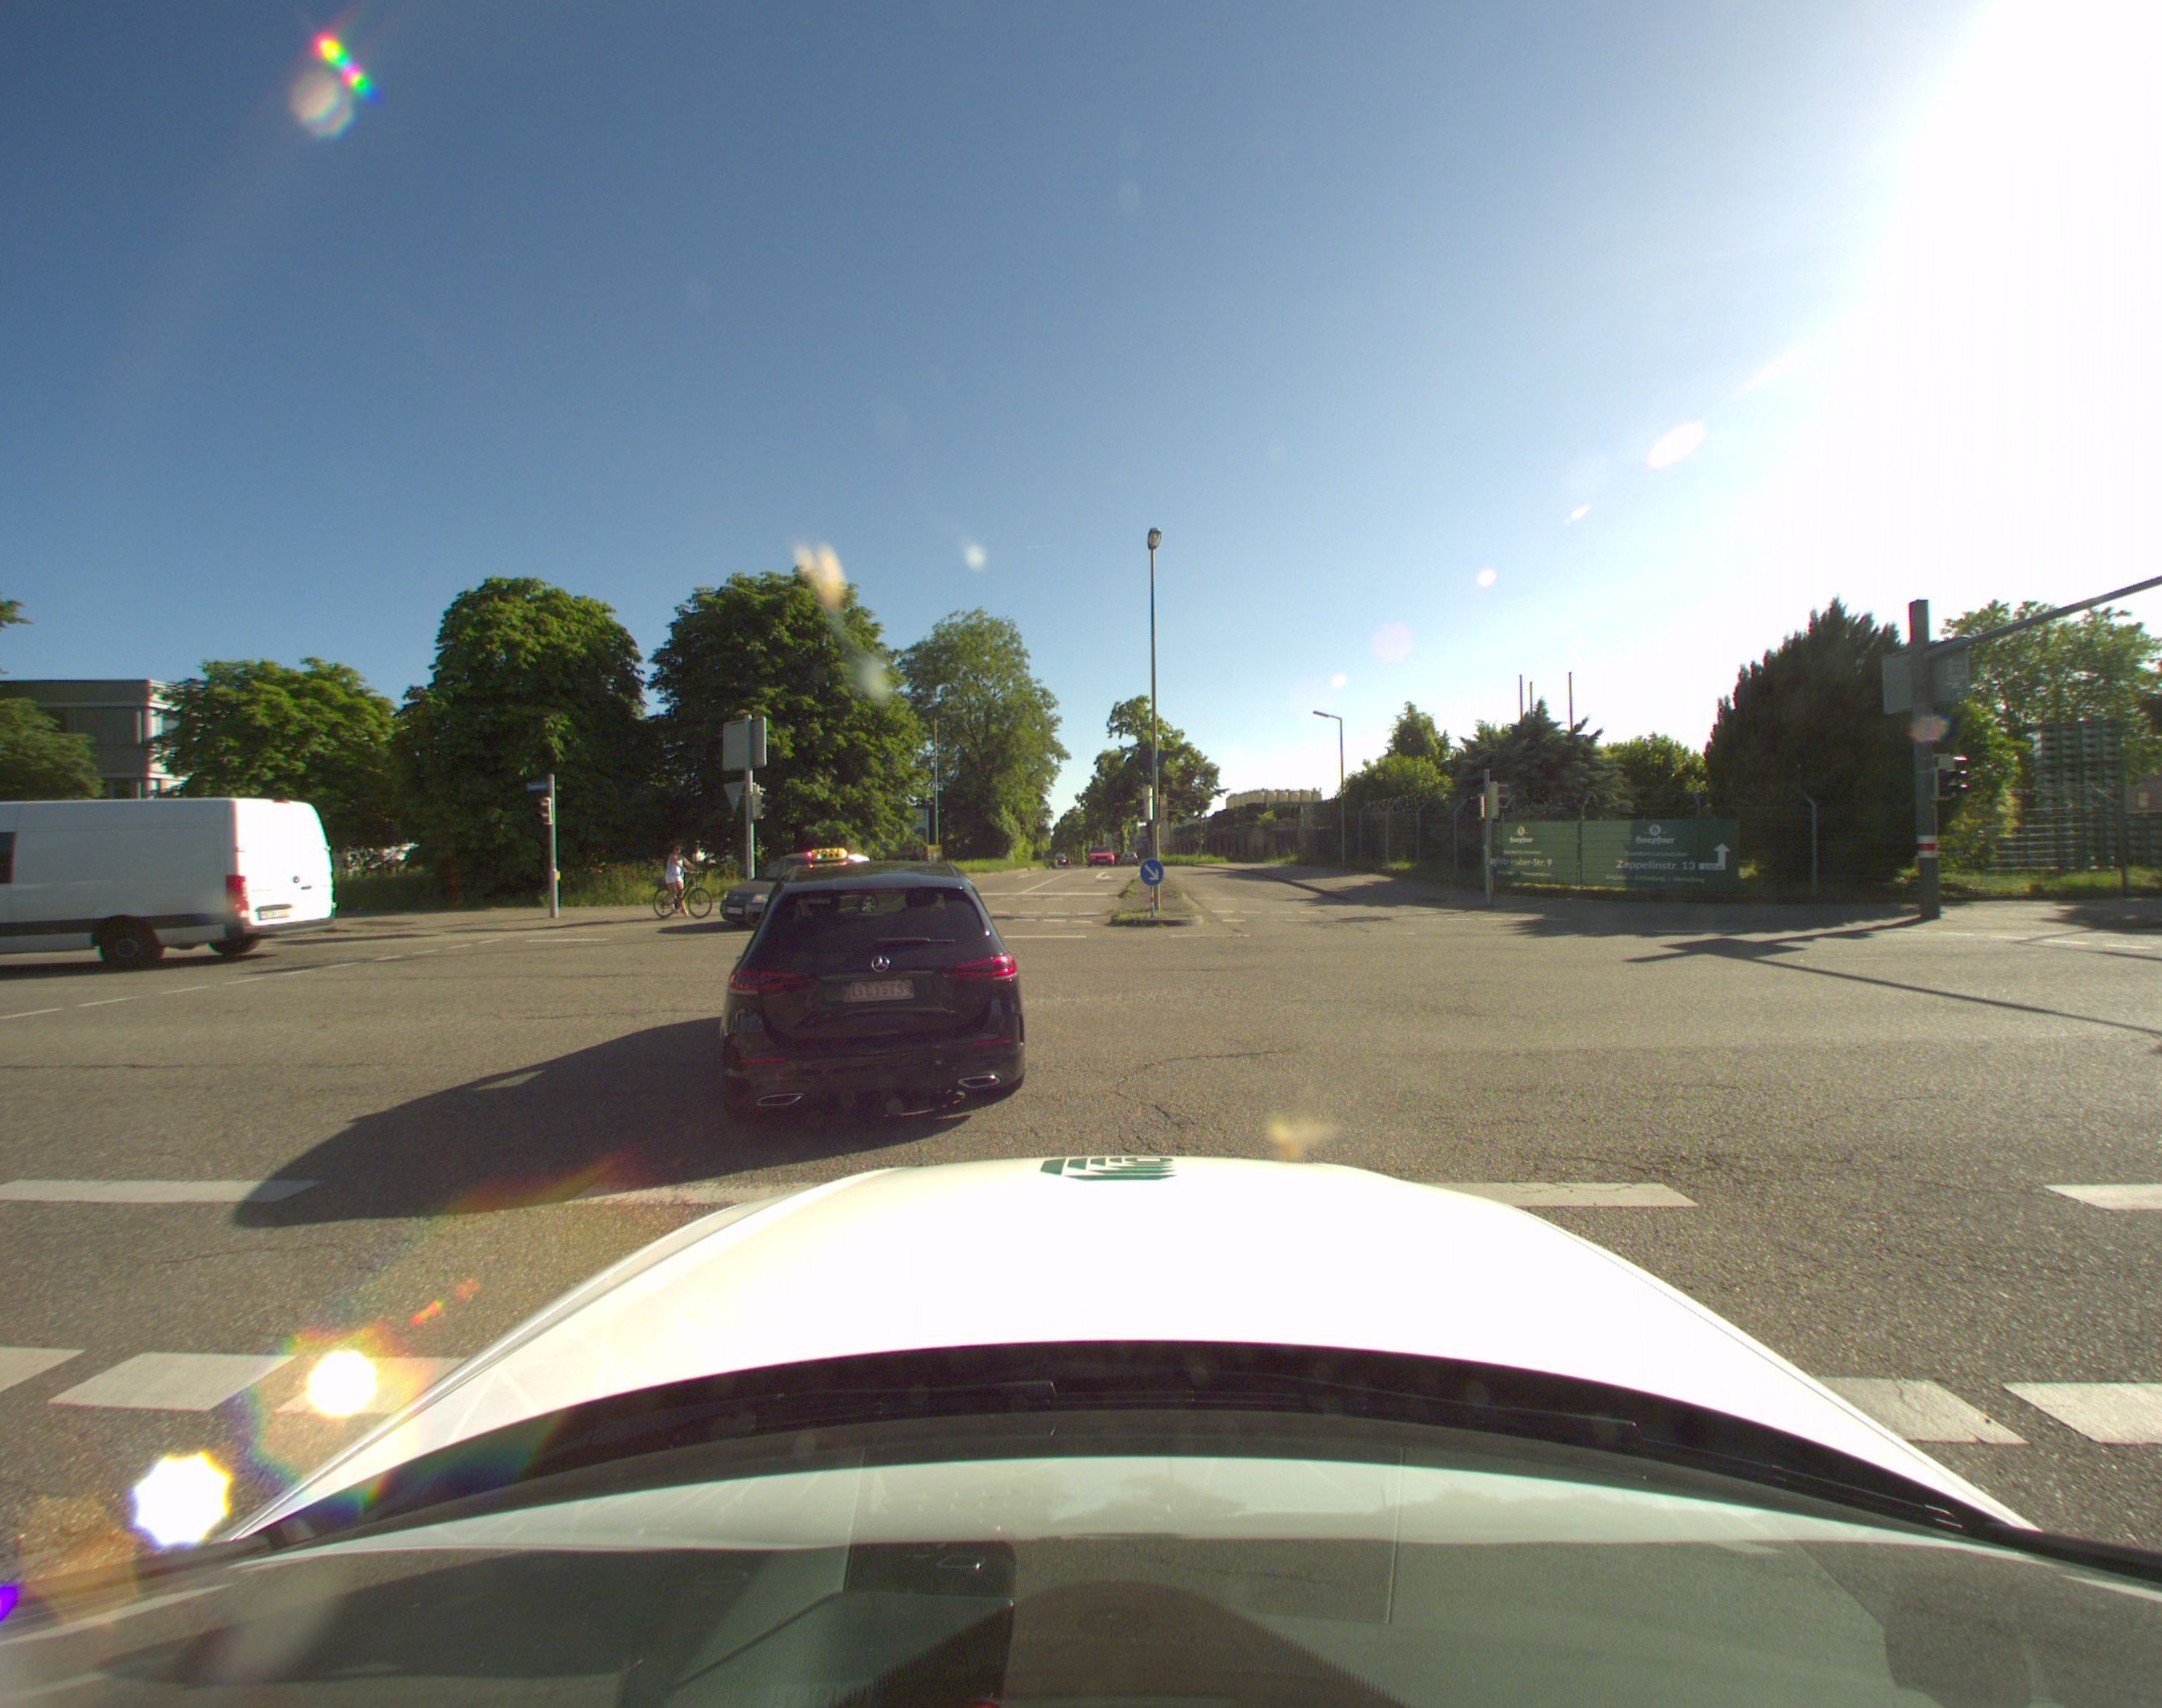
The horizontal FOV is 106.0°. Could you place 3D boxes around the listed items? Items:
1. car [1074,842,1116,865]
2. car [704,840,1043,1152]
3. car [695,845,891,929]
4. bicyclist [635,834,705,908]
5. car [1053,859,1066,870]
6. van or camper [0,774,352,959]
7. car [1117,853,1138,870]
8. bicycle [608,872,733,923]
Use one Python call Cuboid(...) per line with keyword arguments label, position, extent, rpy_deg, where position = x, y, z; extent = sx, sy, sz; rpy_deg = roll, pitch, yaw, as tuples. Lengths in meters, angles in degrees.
Cuboid(label="car", position=(0.917, -0.038, 55.071), extent=(1.860, 1.469, 4.119), rpy_deg=(-1, 0, -13))
Cuboid(label="car", position=(-1.583, 0.733, 6.373), extent=(1.773, 1.592, 3.969), rpy_deg=(-1, 0, -15))
Cuboid(label="car", position=(-6.197, 0.644, 18.045), extent=(1.788, 1.640, 4.022), rpy_deg=(-1, 0, 24))
Cuboid(label="bicyclist", position=(-9.664, 0.399, 19.166), extent=(1.176, 1.693, 0.897), rpy_deg=(-1, -1, 21))
Cuboid(label="car", position=(-3.049, 1.483, 114.843), extent=(1.853, 1.469, 4.135), rpy_deg=(-1, 0, -2))
Cuboid(label="van or camper", position=(-16.582, 0.200, 13.061), extent=(7.061, 2.739, 2.224), rpy_deg=(0, -1, -12))
Cuboid(label="car", position=(4.765, 0.791, 84.188), extent=(1.686, 1.632, 3.125), rpy_deg=(-1, 0, -5))
Cuboid(label="bicycle", position=(-9.678, 0.988, 19.174), extent=(2.918, 1.125, 0.908), rpy_deg=(-1, -1, 21))
